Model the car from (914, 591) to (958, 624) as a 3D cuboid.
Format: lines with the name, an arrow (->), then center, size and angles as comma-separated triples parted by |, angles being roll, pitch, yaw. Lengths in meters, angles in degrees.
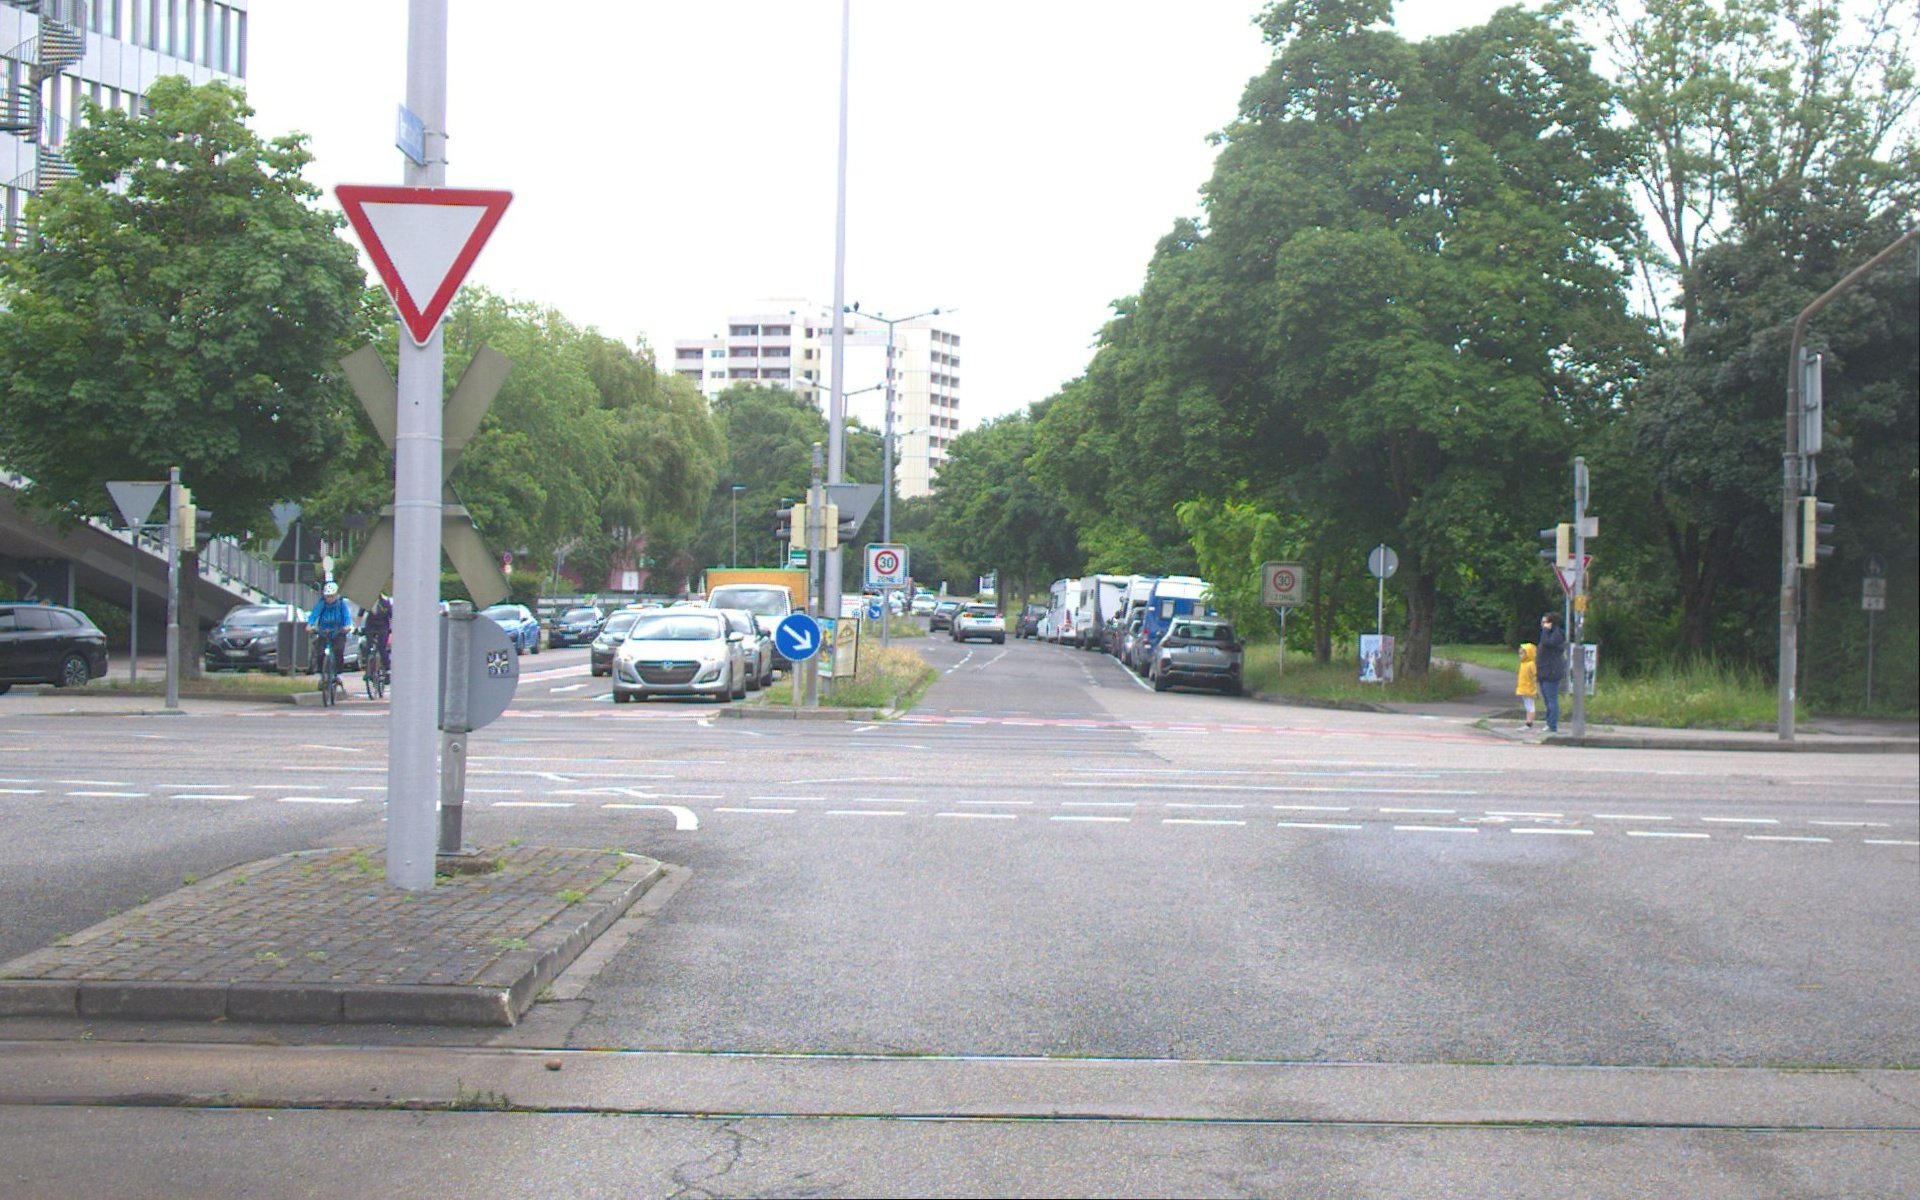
car -> -1.167, 0.341, 166.020 | 2.020, 1.500, 4.000 | 1, 0, -1

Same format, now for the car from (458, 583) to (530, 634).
car -> -14.513, 0.253, 107.248 | 1.671, 1.547, 4.000 | 1, 0, 0

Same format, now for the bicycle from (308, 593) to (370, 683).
bicycle -> -9.040, 0.545, 50.108 | 0.543, 1.263, 2.111 | 1, 0, -1

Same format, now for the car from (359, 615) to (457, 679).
car -> -12.259, 1.031, 76.517 | 1.512, 1.385, 3.532 | 1, 0, 2

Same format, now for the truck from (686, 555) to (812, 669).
truck -> -4.260, 0.223, 70.333 | 2.155, 2.191, 5.840 | 1, 0, 0

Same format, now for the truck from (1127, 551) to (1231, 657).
truck -> 5.649, 0.122, 89.302 | 2.174, 2.647, 6.246 | 0, 0, -1

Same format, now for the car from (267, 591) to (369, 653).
car -> -15.211, 0.514, 81.593 | 1.671, 1.382, 3.895 | 1, 0, 0

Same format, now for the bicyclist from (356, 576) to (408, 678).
bicyclist -> -9.116, 0.418, 54.246 | 0.679, 1.589, 0.695 | 1, 0, -1

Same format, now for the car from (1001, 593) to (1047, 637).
car -> 2.906, 0.674, 156.275 | 1.651, 1.912, 3.919 | 1, 1, -5

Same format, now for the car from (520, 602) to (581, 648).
car -> -14.478, 0.861, 121.750 | 1.671, 1.547, 4.000 | 1, 0, 0

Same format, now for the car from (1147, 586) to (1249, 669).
car -> 4.990, 0.562, 72.498 | 1.784, 1.656, 4.000 | 1, 0, -1

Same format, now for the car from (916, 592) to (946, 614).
car -> -2.034, 0.185, 240.494 | 2.020, 1.500, 4.000 | 1, 0, -1

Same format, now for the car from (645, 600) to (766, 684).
car -> -4.596, 0.740, 62.587 | 1.896, 1.415, 4.736 | 1, 0, -1

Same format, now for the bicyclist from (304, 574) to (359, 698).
bicyclist -> -9.063, 0.514, 49.590 | 0.644, 1.762, 0.647 | 1, 0, -1

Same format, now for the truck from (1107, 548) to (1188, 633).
truck -> 6.429, -0.317, 118.657 | 1.993, 2.828, 5.732 | 1, 0, -4

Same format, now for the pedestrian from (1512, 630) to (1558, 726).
pedestrian -> 8.099, 1.094, 48.414 | 0.526, 1.337, 0.525 | 1, 0, -1

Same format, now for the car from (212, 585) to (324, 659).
car -> -15.283, 0.467, 76.097 | 1.671, 1.547, 3.892 | 1, 0, 0

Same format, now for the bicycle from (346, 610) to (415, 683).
bicycle -> -9.142, 0.726, 54.320 | 0.726, 1.097, 2.264 | 1, 0, -1

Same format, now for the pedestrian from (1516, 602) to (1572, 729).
pedestrian -> 8.114, 0.904, 47.771 | 0.657, 1.744, 0.459 | 1, 0, -1

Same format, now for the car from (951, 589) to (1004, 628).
car -> 0.700, 0.314, 139.294 | 2.020, 1.500, 4.000 | 1, 0, -1

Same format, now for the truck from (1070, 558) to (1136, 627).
truck -> 5.421, -0.267, 130.724 | 1.993, 2.564, 5.379 | 1, 0, -3

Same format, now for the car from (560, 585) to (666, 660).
car -> -7.148, 0.452, 71.237 | 1.770, 1.472, 4.390 | 1, 0, -1

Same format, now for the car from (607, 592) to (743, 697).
car -> -4.376, 0.661, 53.295 | 1.789, 1.514, 4.325 | 1, 0, -1

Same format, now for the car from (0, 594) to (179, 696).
car -> -14.268, 0.693, 55.215 | 1.673, 1.547, 3.997 | 1, 0, 15

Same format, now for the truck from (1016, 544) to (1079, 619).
truck -> 3.583, -0.719, 141.508 | 1.993, 2.999, 5.772 | 1, 0, -4
